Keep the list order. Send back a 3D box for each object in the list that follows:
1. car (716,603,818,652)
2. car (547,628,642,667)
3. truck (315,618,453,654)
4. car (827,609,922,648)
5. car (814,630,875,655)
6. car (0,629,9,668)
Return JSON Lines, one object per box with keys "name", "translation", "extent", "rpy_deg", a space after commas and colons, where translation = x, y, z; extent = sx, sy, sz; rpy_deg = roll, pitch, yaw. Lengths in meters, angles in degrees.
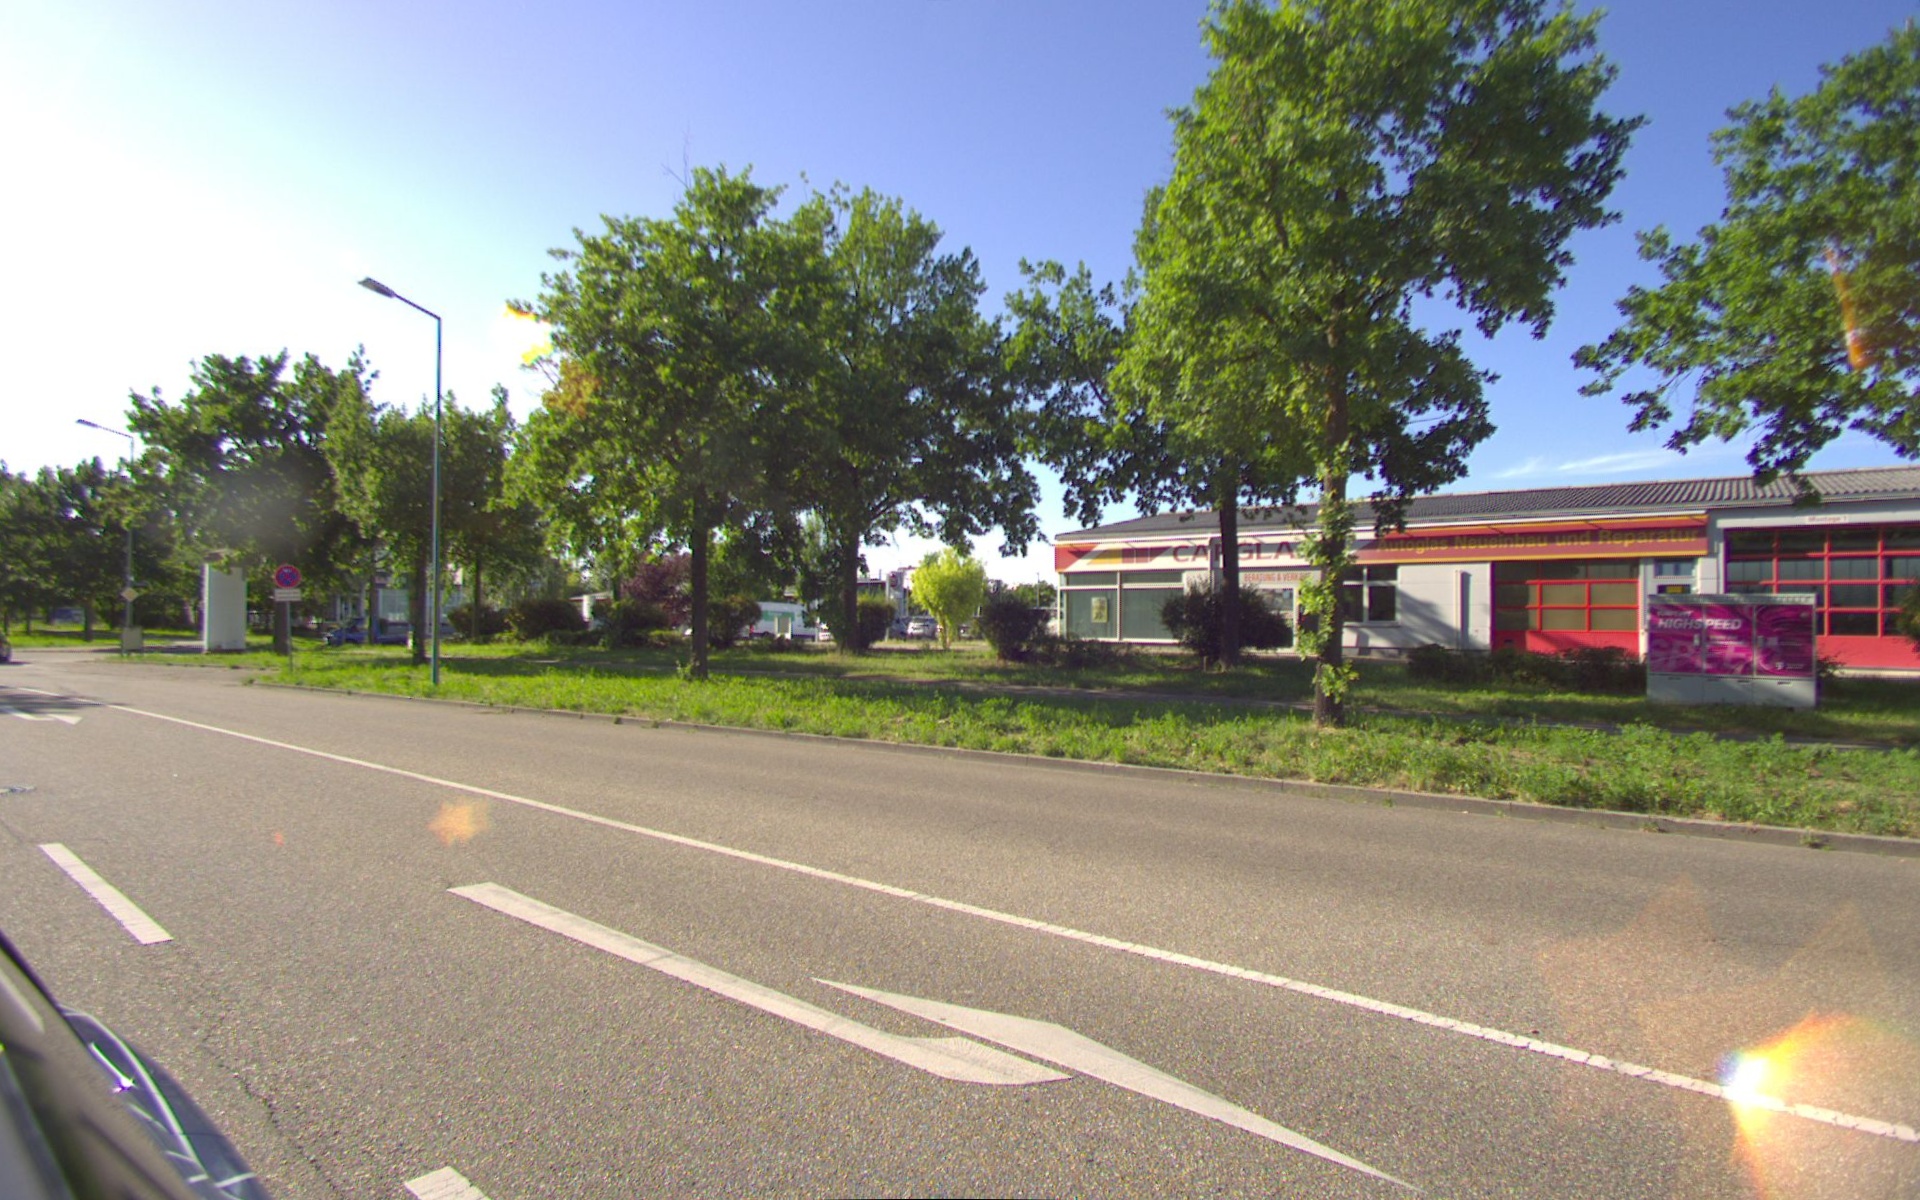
{"name": "car", "translation": [-11.463, 1.554, 60.576], "extent": [2.297, 2.723, 6.102], "rpy_deg": [0, 0, 37]}
{"name": "car", "translation": [-26.634, 3.408, 73.972], "extent": [2.297, 2.535, 6.280], "rpy_deg": [0, 0, 37]}
{"name": "truck", "translation": [-35.245, 2.232, 62.191], "extent": [2.138, 2.065, 7.043], "rpy_deg": [0, -2, 38]}
{"name": "car", "translation": [-4.658, 1.572, 56.208], "extent": [2.297, 2.085, 5.359], "rpy_deg": [-1, -2, 37]}
{"name": "car", "translation": [-6.644, 2.434, 58.521], "extent": [1.572, 1.312, 3.489], "rpy_deg": [-1, -1, 38]}
{"name": "car", "translation": [-36.366, 1.746, 37.192], "extent": [1.970, 1.414, 4.592], "rpy_deg": [5, -5, -43]}
